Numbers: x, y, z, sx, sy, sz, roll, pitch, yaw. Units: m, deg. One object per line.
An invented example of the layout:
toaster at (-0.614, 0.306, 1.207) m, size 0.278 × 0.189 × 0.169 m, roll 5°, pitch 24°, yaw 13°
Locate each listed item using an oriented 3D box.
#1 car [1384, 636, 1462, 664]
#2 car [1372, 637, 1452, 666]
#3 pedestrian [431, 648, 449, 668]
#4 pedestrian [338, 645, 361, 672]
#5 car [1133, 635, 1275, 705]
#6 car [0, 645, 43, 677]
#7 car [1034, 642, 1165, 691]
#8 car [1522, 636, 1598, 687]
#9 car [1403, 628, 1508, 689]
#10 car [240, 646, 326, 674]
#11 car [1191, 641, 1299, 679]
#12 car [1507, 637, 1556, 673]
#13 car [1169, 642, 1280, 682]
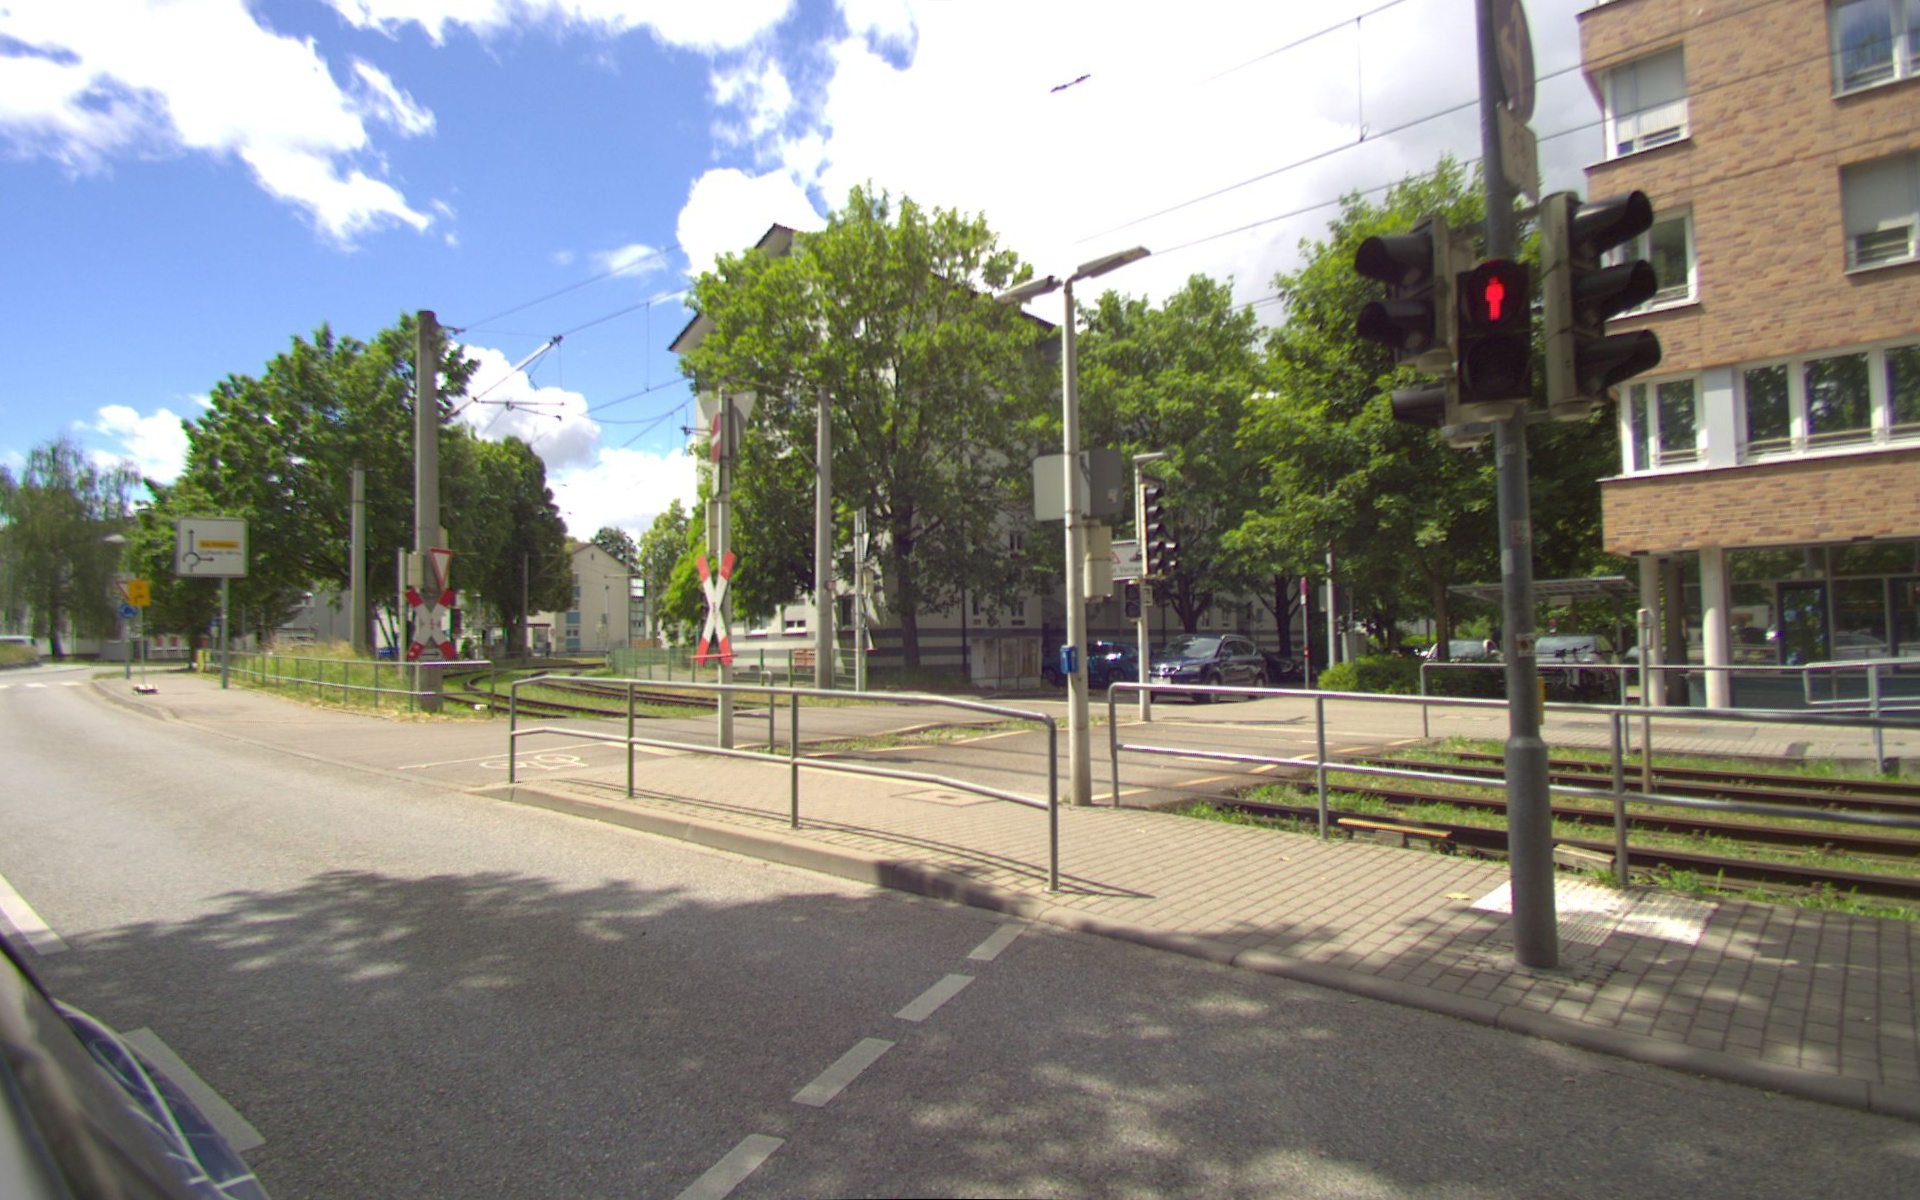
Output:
car at (28.673, 3.073, 62.676) m, size 4.101 × 1.567 × 1.839 m, roll -2°, pitch 0°, yaw 35°
car at (26.881, 3.044, 60.211) m, size 4.101 × 1.567 × 1.839 m, roll -2°, pitch 1°, yaw 35°
pedestrian at (-43.066, 4.792, 83.810) m, size 0.874 × 1.677 × 1.010 m, roll -3°, pitch -3°, yaw 36°
pedestrian at (-39.574, 3.787, 65.567) m, size 1.017 × 1.677 × 0.868 m, roll -2°, pitch -3°, yaw 27°
car at (5.693, 1.622, 23.434) m, size 1.588 × 1.488 × 3.631 m, roll -3°, pitch -5°, yaw 44°
car at (-56.782, 3.575, 59.061) m, size 4.540 × 1.810 × 2.006 m, roll 1°, pitch -3°, yaw -32°
car at (4.797, 2.254, 34.953) m, size 4.101 × 1.567 × 1.839 m, roll -2°, pitch -2°, yaw 35°
car at (14.201, 1.432, 23.916) m, size 1.148 × 1.128 × 2.626 m, roll -3°, pitch -4°, yaw 39°
car at (12.546, 1.437, 25.545) m, size 1.593 × 1.410 × 3.495 m, roll -3°, pitch -3°, yaw 39°
car at (-47.014, 4.141, 70.337) m, size 1.995 × 1.810 × 4.564 m, roll -2°, pitch -3°, yaw 34°
car at (12.311, 2.555, 43.798) m, size 4.101 × 1.567 × 1.839 m, roll -2°, pitch -2°, yaw 35°
car at (32.001, 3.029, 56.624) m, size 1.790 × 1.937 × 4.009 m, roll -3°, pitch -3°, yaw 38°
car at (10.980, 2.547, 42.048) m, size 4.101 × 1.567 × 1.839 m, roll -2°, pitch -2°, yaw 35°
